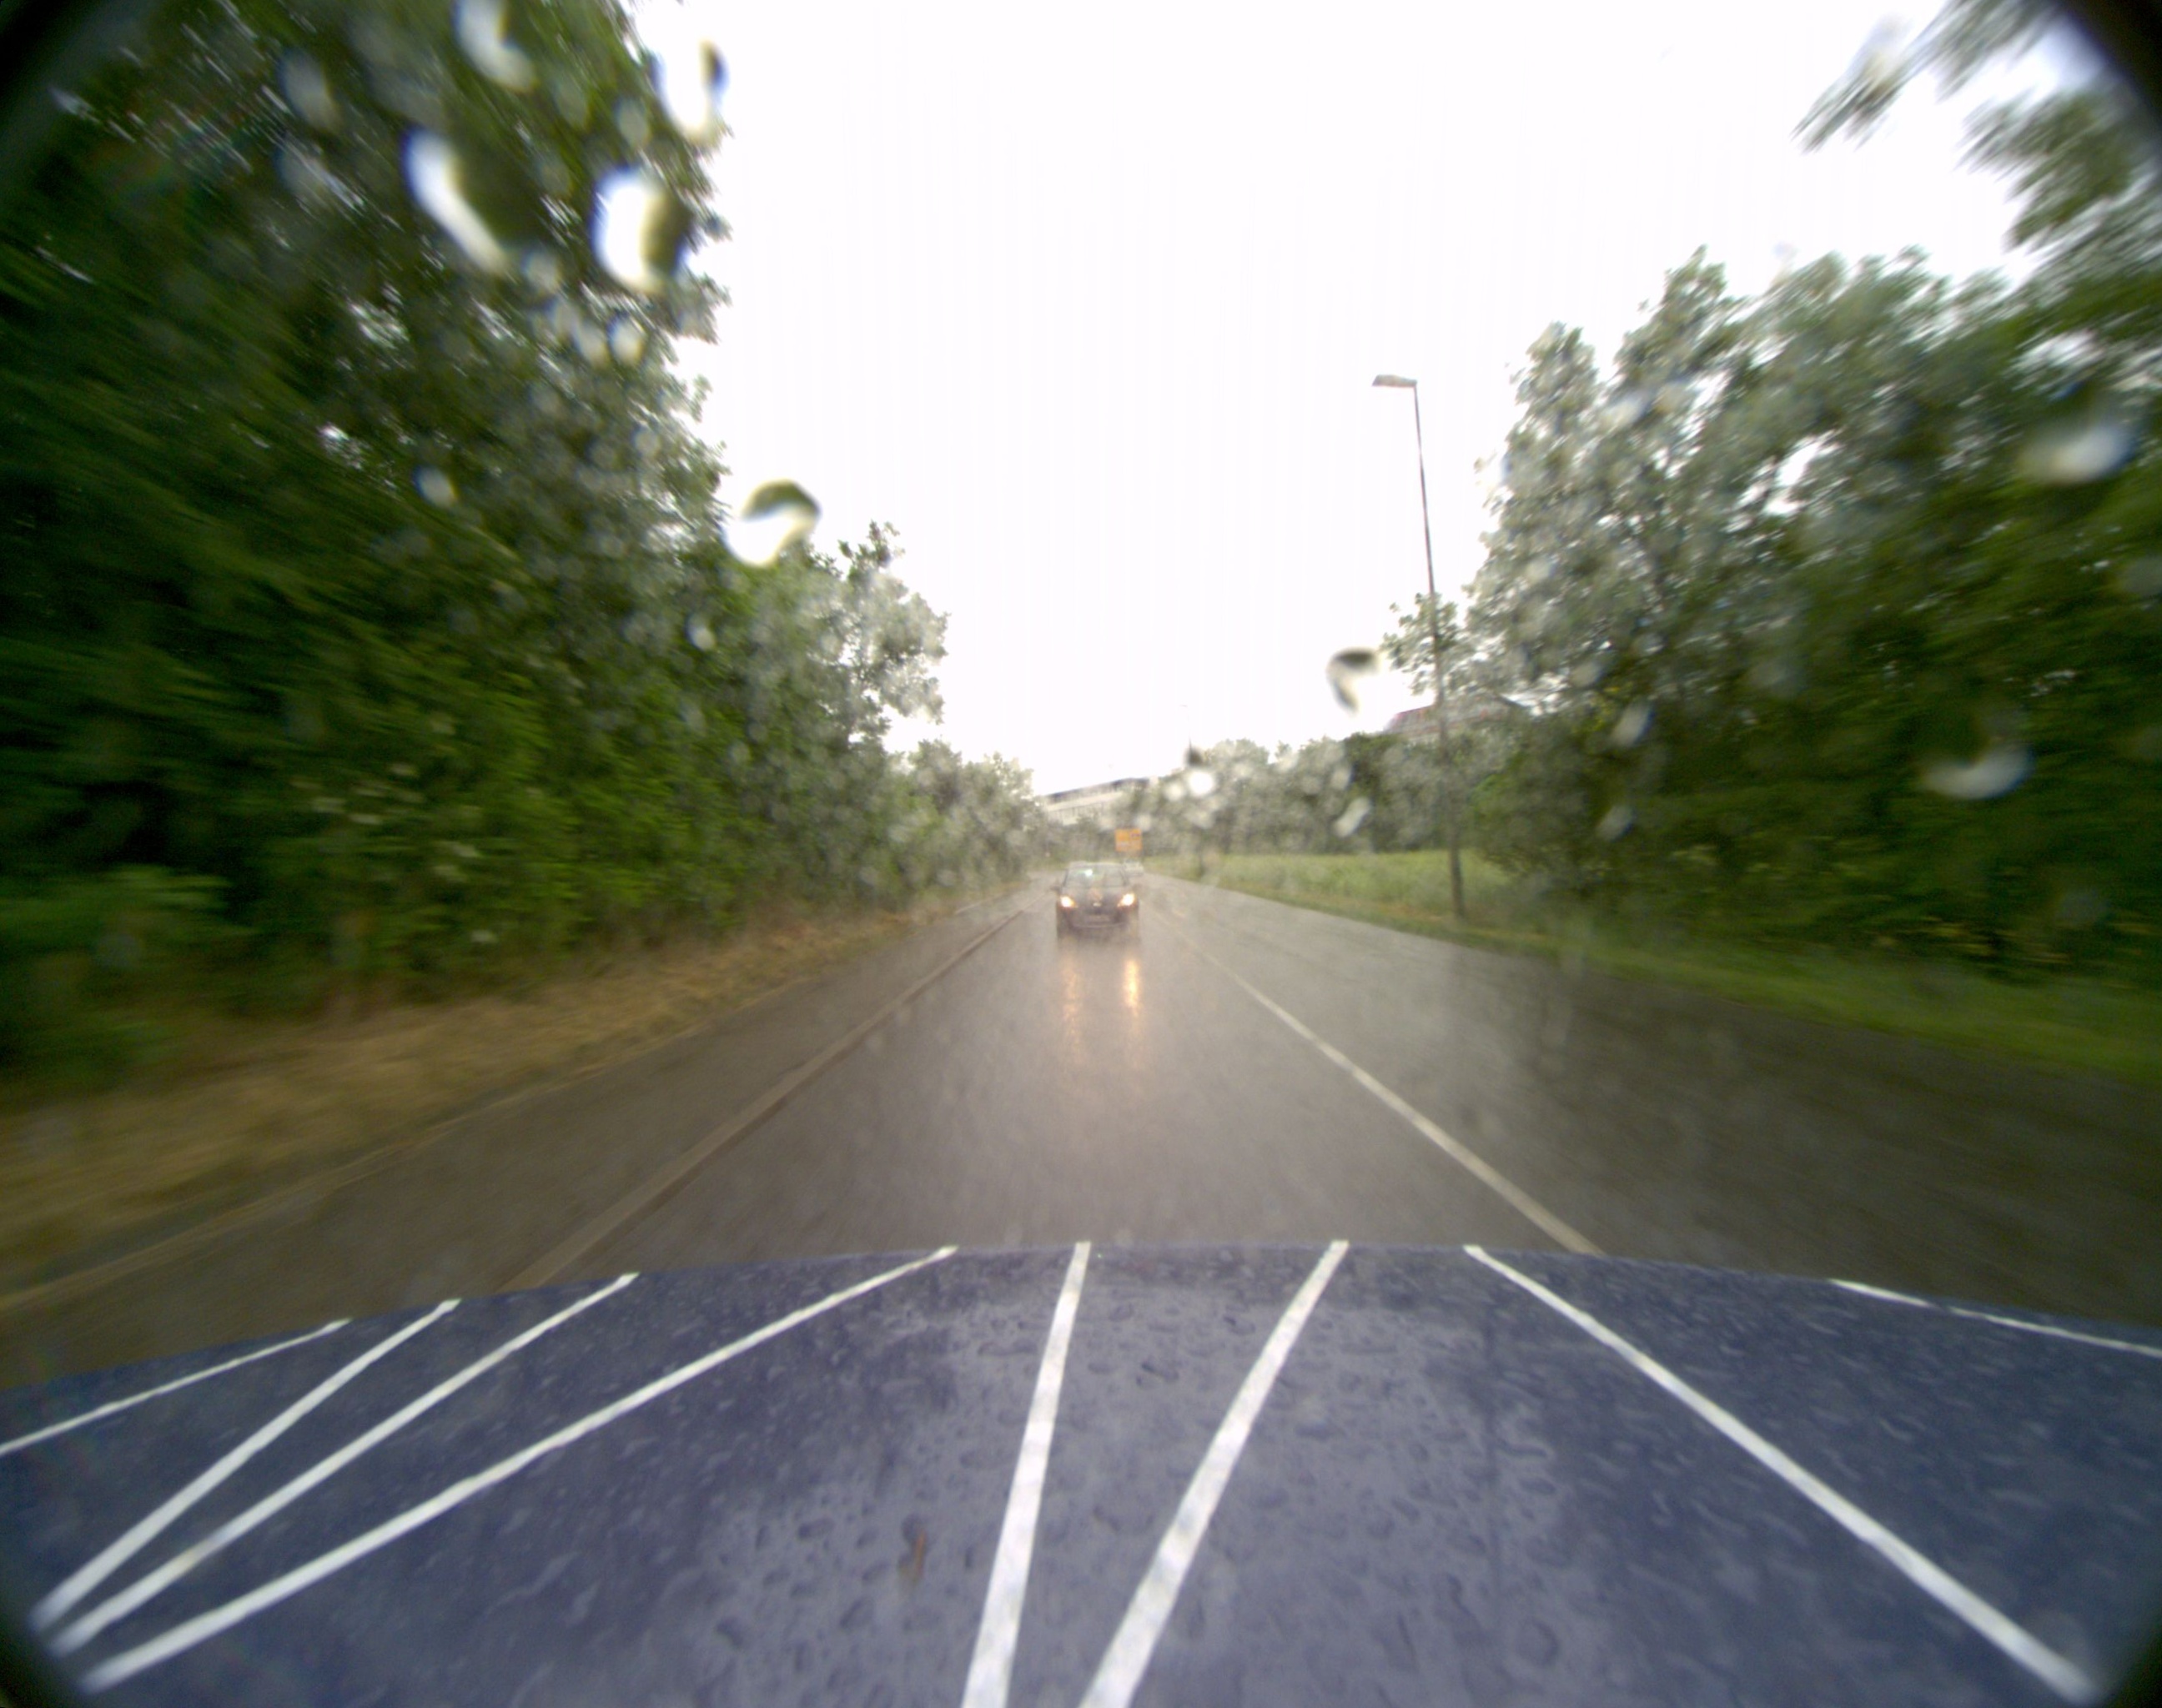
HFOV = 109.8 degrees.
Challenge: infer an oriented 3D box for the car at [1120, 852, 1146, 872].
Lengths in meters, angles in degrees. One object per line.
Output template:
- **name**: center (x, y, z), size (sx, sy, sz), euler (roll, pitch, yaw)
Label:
- **car**: center (4.097, 0.586, 59.918), size (1.643, 1.480, 3.453), euler (-2, 0, -2)

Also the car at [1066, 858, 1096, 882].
- **car**: center (-0.071, 1.082, 52.417), size (1.874, 1.432, 4.377), euler (-4, 0, -2)

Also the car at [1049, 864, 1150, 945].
- **car**: center (0.309, 0.996, 16.816), size (1.874, 1.432, 4.377), euler (-3, 0, -1)
